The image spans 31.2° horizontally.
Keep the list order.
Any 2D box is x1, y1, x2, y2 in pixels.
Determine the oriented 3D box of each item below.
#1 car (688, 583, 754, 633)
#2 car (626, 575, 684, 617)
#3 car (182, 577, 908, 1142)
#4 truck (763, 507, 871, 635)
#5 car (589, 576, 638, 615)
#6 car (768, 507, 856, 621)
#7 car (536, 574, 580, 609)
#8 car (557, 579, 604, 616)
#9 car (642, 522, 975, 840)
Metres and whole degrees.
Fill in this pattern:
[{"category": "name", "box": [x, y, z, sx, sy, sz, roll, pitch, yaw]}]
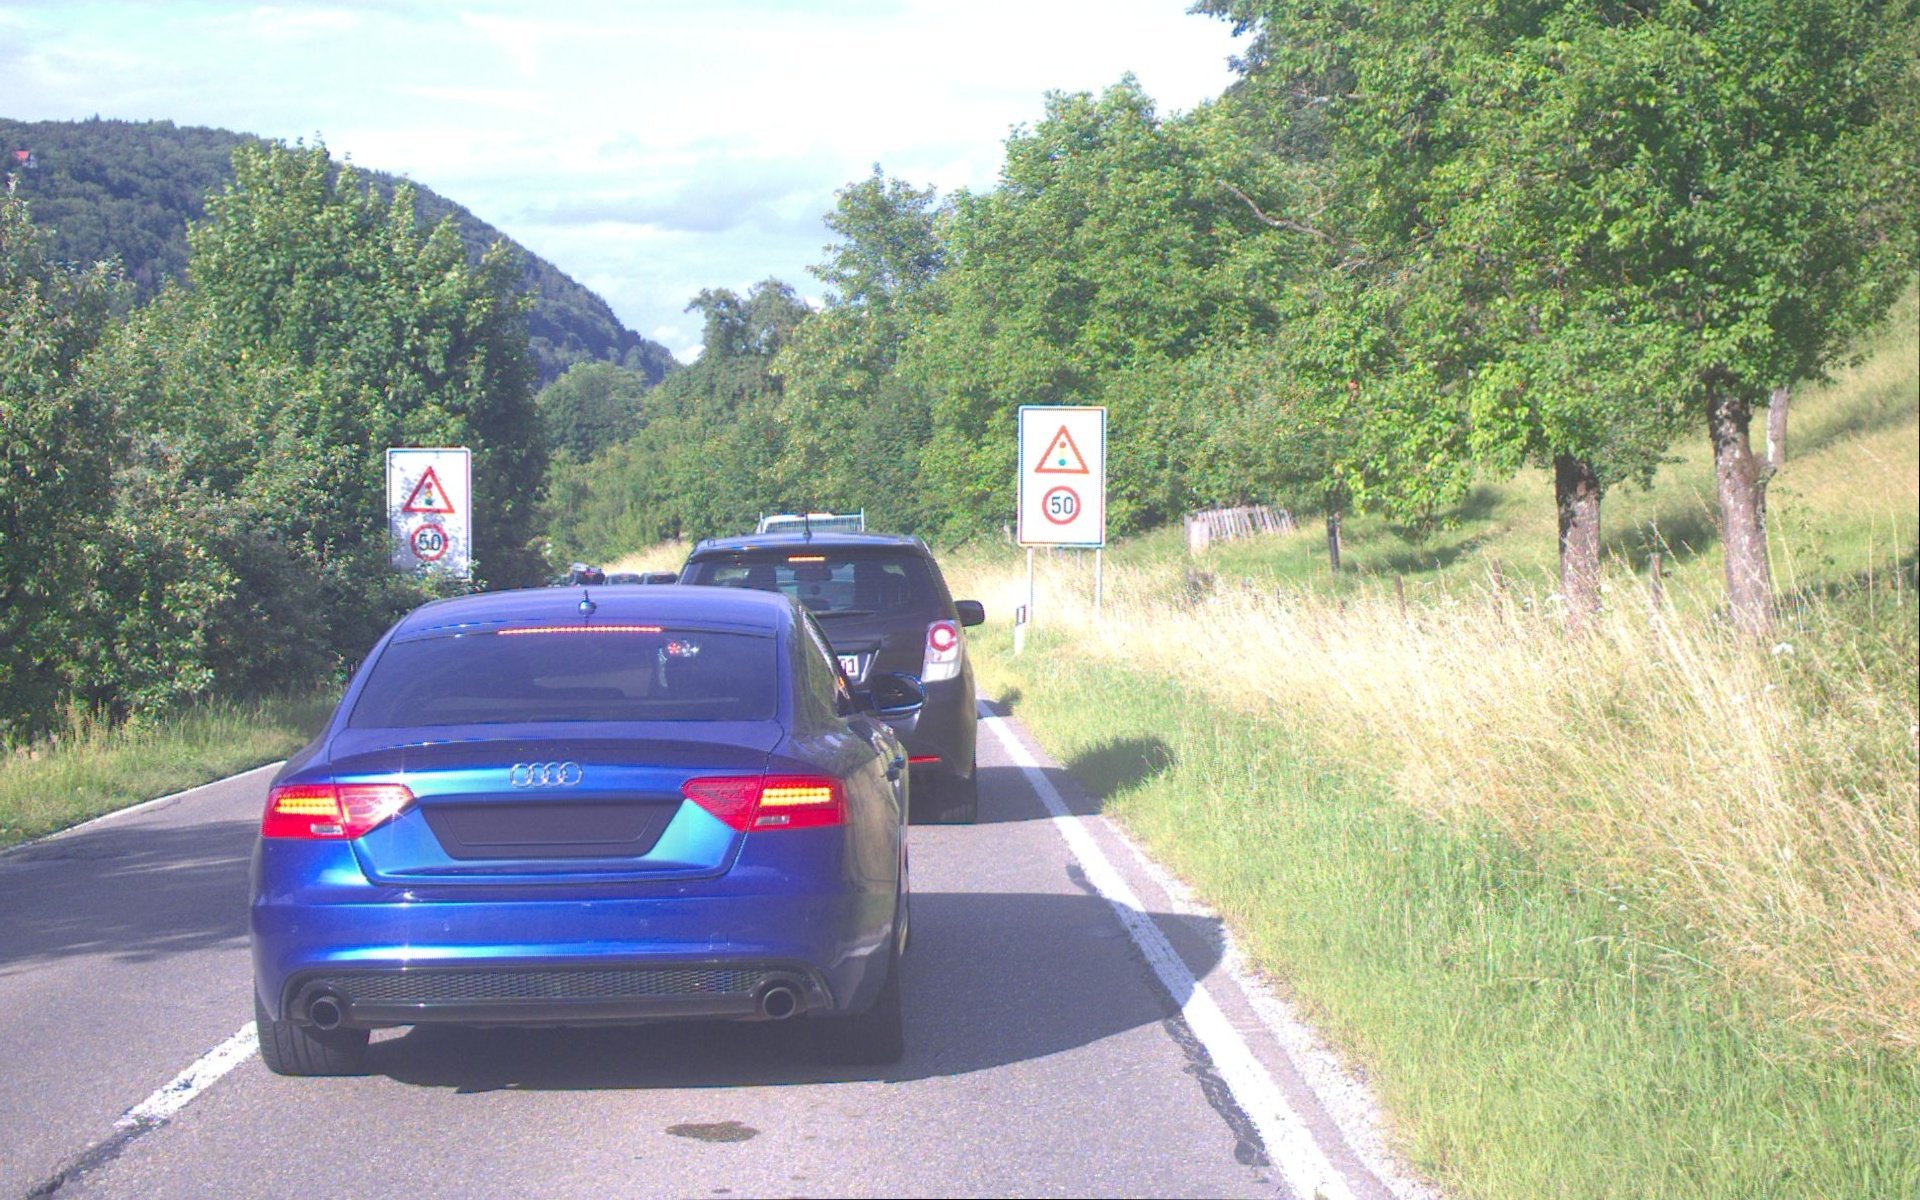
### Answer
[{"category": "car", "box": [-7.757, 0.253, 111.385, 1.747, 1.490, 3.779, 2, 1, -10]}, {"category": "car", "box": [-11.787, -0.150, 132.842, 1.747, 1.490, 3.779, 2, 1, -12]}, {"category": "car", "box": [-1.079, 0.641, 10.779, 1.805, 1.377, 4.215, -1, 1, -1]}, {"category": "truck", "box": [-2.797, -0.589, 67.566, 1.950, 2.337, 5.094, 2, 1, -2]}, {"category": "car", "box": [-14.441, -0.206, 143.139, 1.558, 1.490, 3.779, 2, 1, -12]}, {"category": "car", "box": [-3.341, -0.821, 77.039, 1.792, 2.445, 3.920, 2, 1, -4]}, {"category": "car", "box": [-18.850, -0.410, 160.982, 1.558, 1.490, 3.779, 2, 1, -13]}, {"category": "car", "box": [-16.934, -0.117, 153.302, 1.558, 1.490, 3.779, 2, 1, -13]}, {"category": "car", "box": [-0.826, 0.380, 19.552, 1.692, 1.618, 3.789, 1, 1, -1]}]
